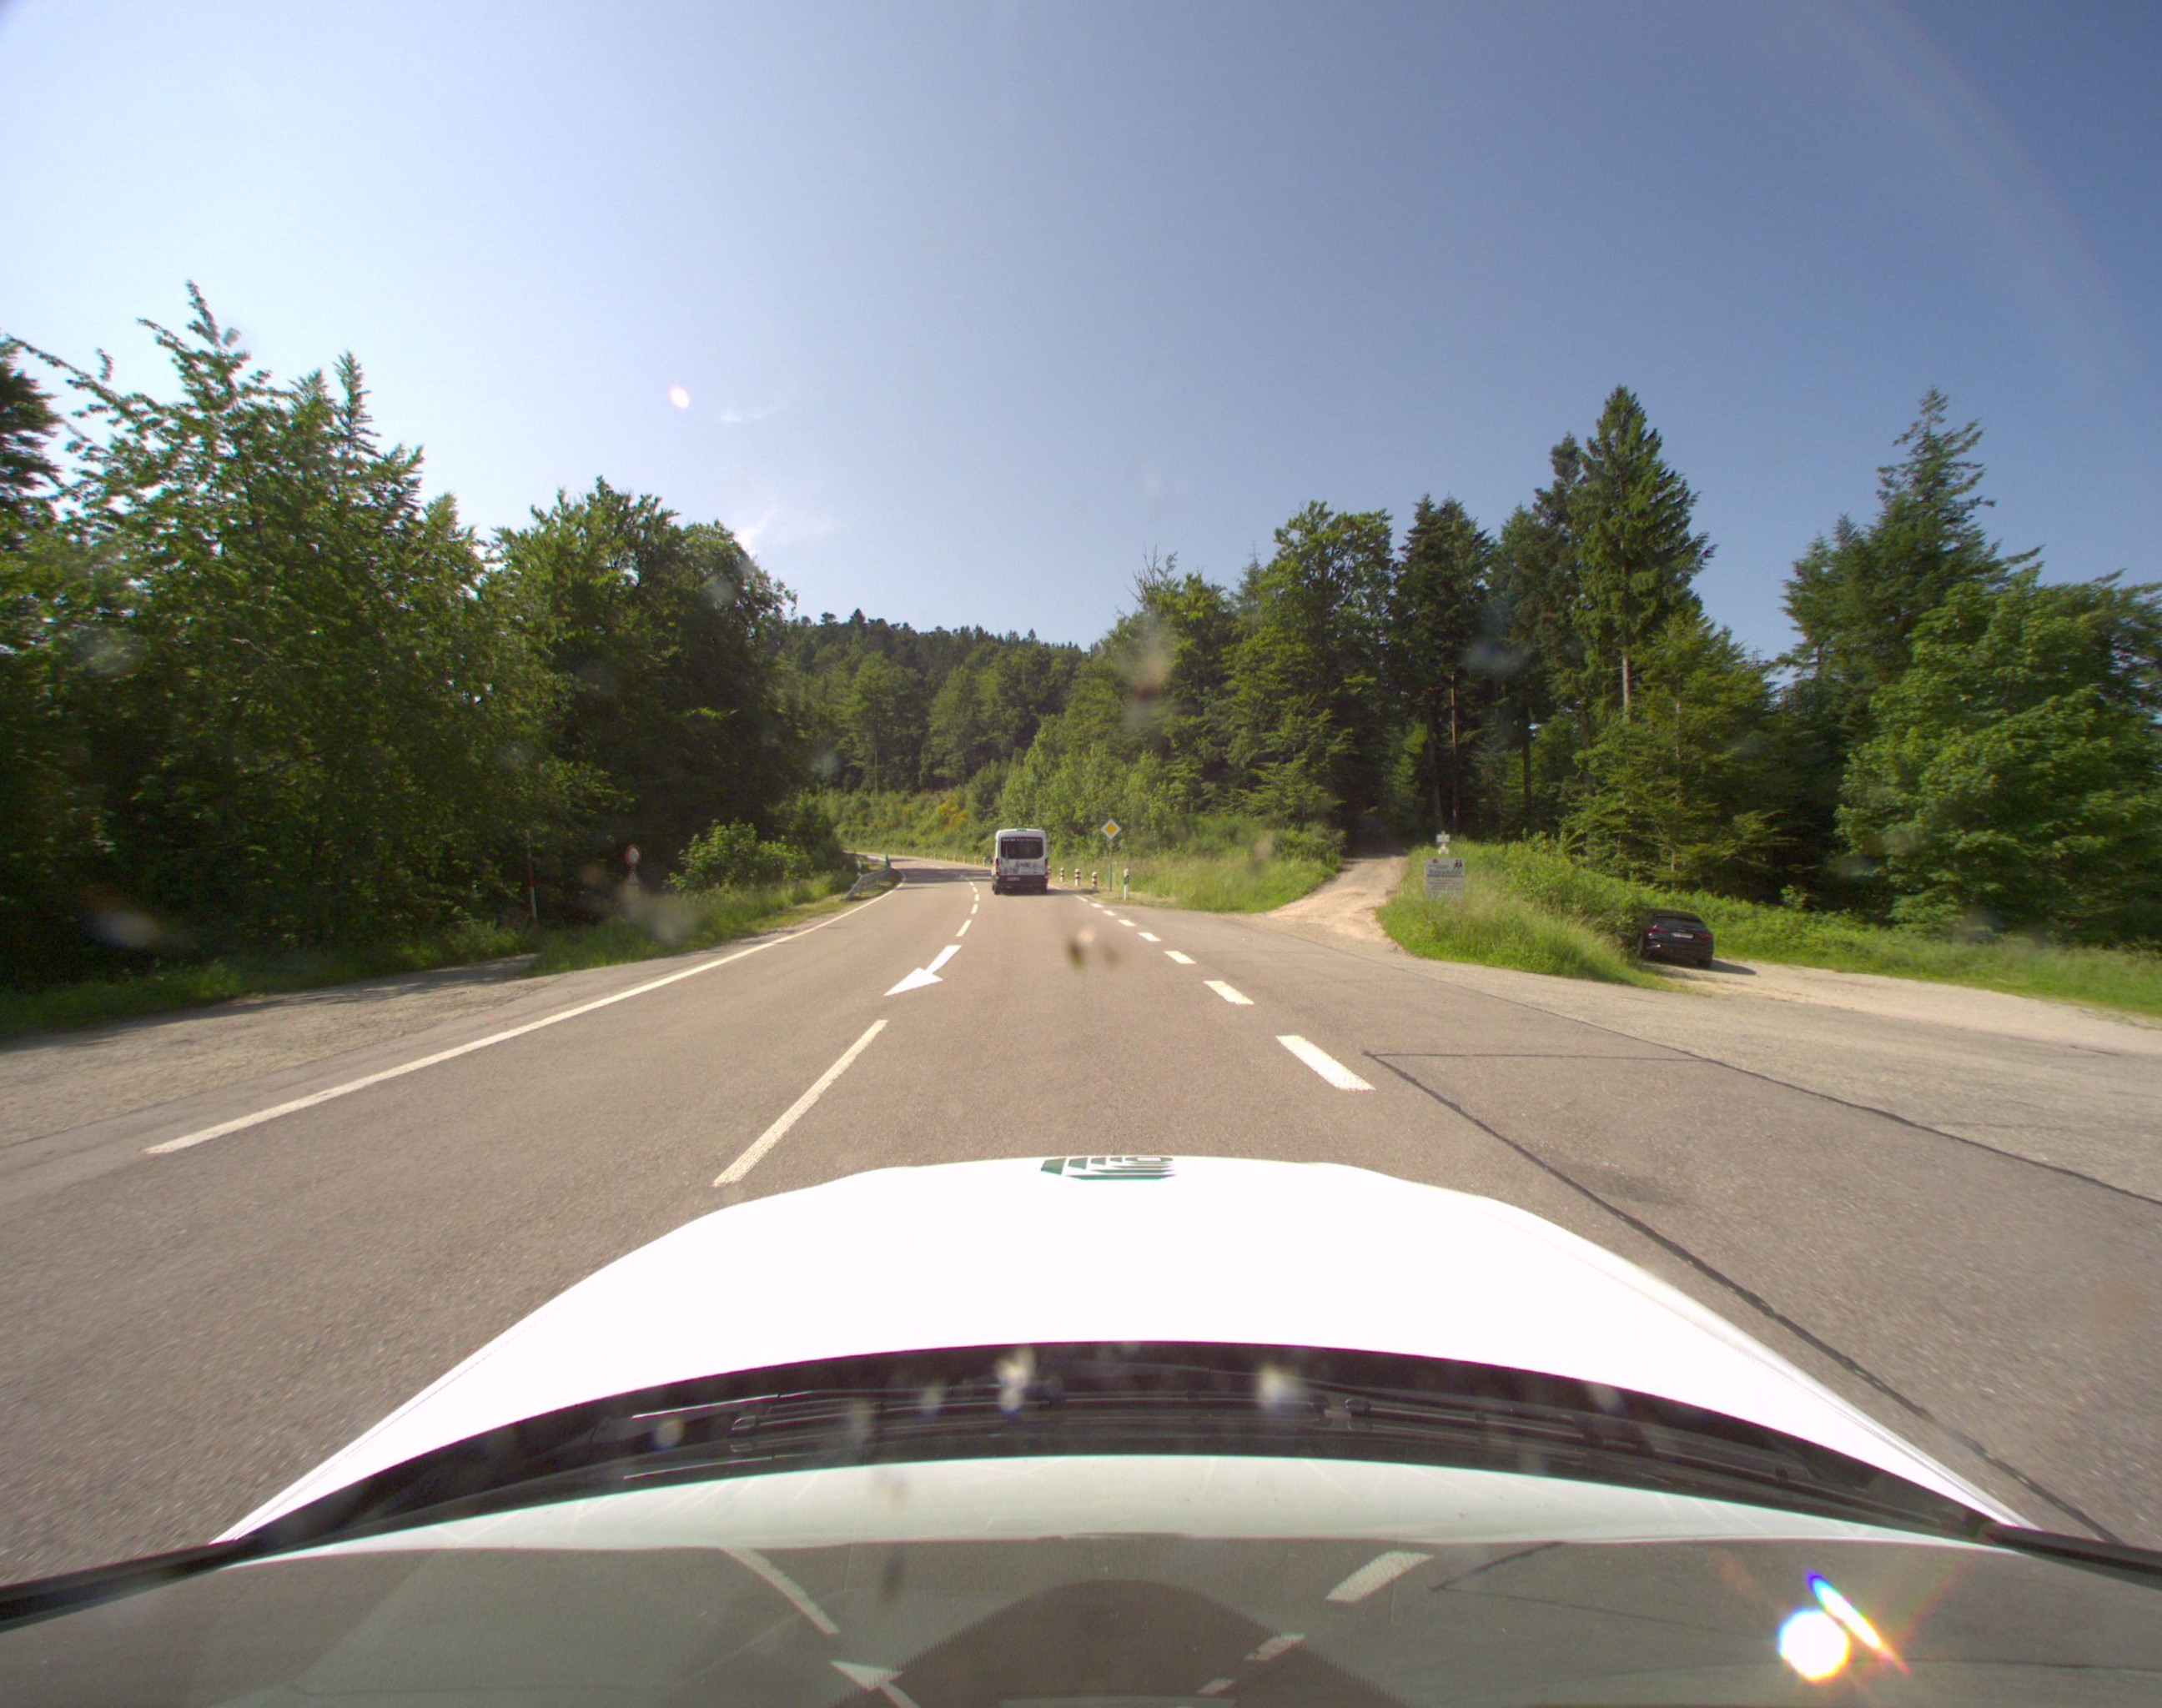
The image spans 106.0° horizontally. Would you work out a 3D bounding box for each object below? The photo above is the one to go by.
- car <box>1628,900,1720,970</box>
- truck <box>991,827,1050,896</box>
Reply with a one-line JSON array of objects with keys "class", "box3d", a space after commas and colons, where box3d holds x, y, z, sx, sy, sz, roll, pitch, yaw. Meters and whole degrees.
[{"class": "car", "box3d": [18.425, 2.441, 25.484, 1.915, 1.593, 4.025, 6, 3, 32]}, {"class": "truck", "box3d": [-2.513, 0.260, 32.524, 2.113, 2.498, 5.347, -1, 0, -6]}]
